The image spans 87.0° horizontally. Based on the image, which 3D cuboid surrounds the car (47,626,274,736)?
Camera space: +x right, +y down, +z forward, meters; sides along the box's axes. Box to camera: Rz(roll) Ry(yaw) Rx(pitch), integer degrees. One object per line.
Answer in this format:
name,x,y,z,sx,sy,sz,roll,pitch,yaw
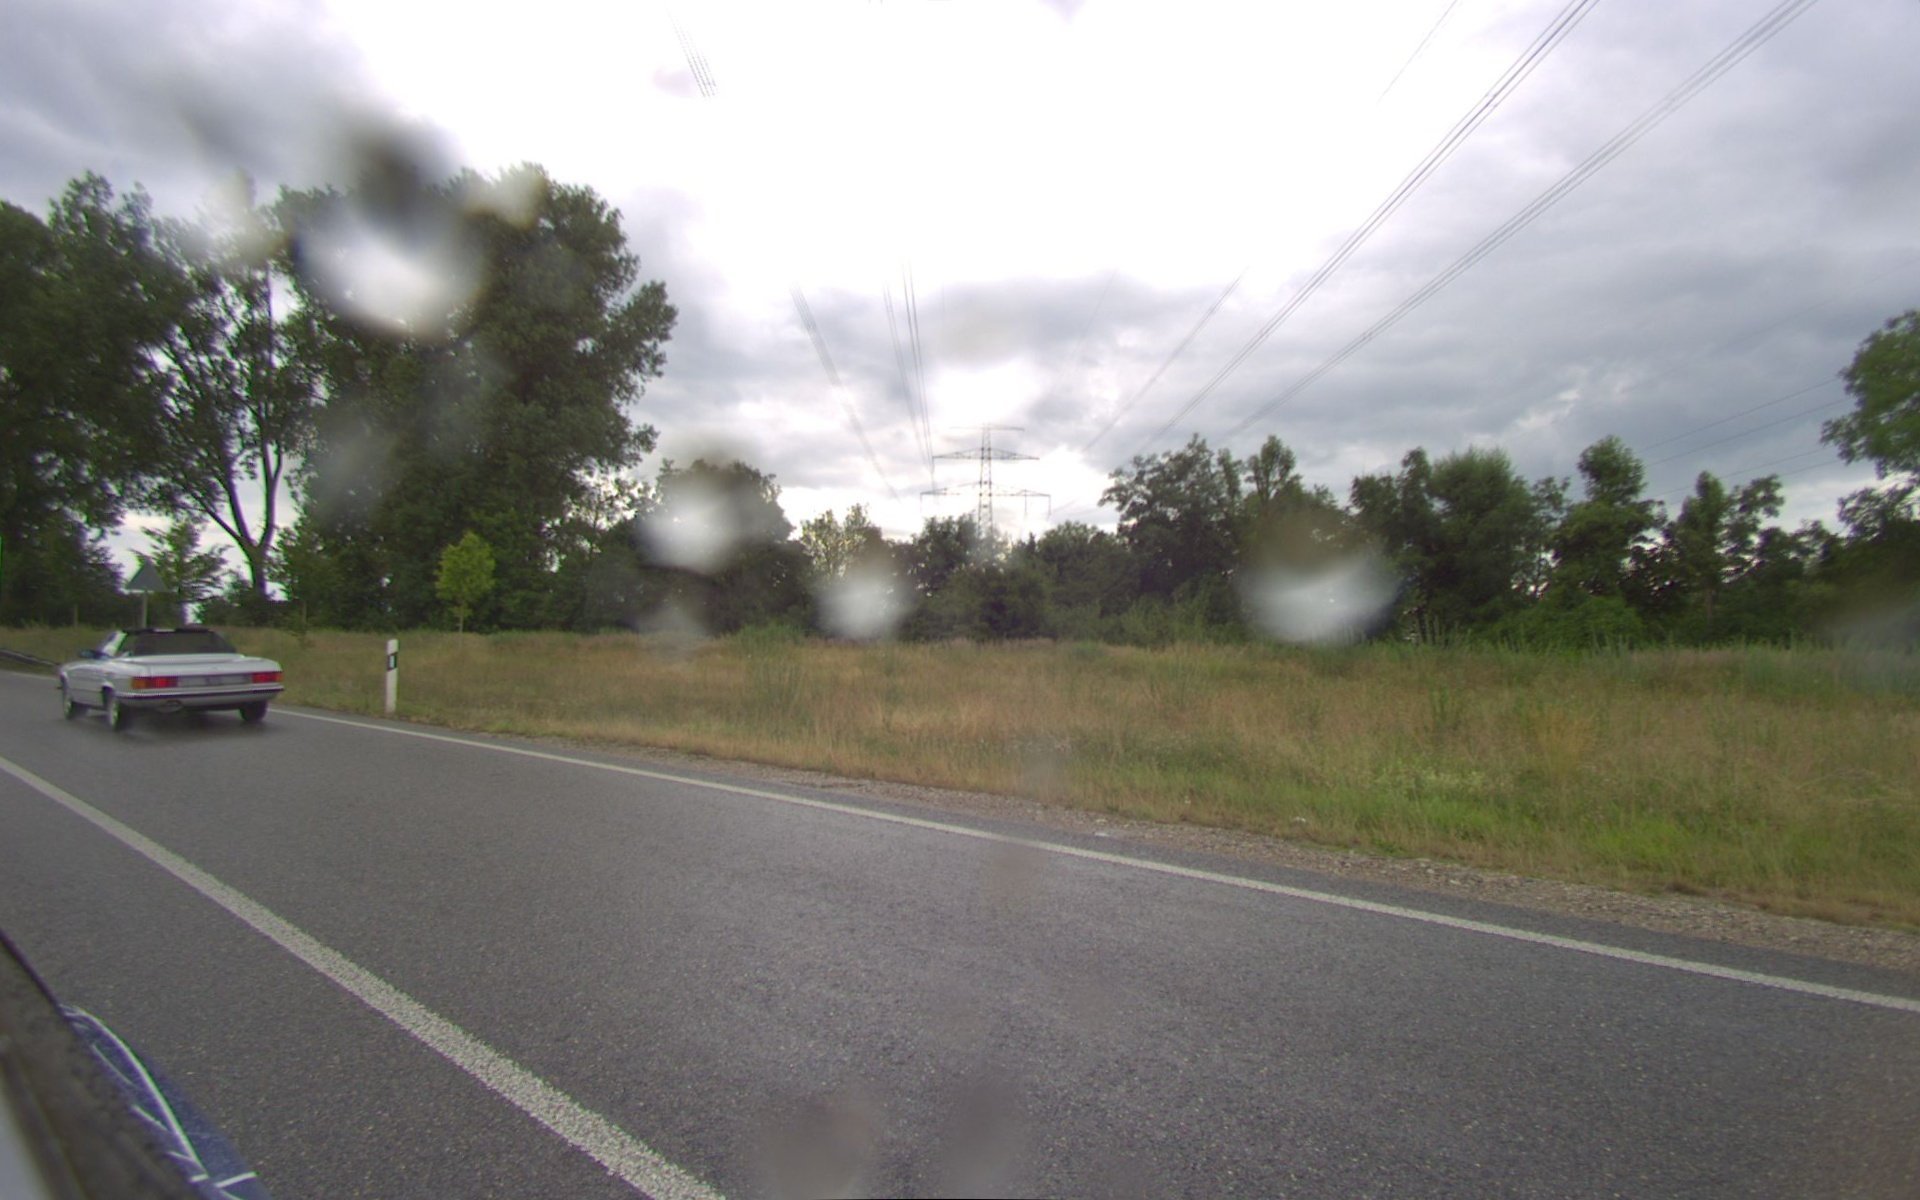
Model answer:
car,-11.048,1.016,13.900,3.998,1.260,1.701,0,-2,41
